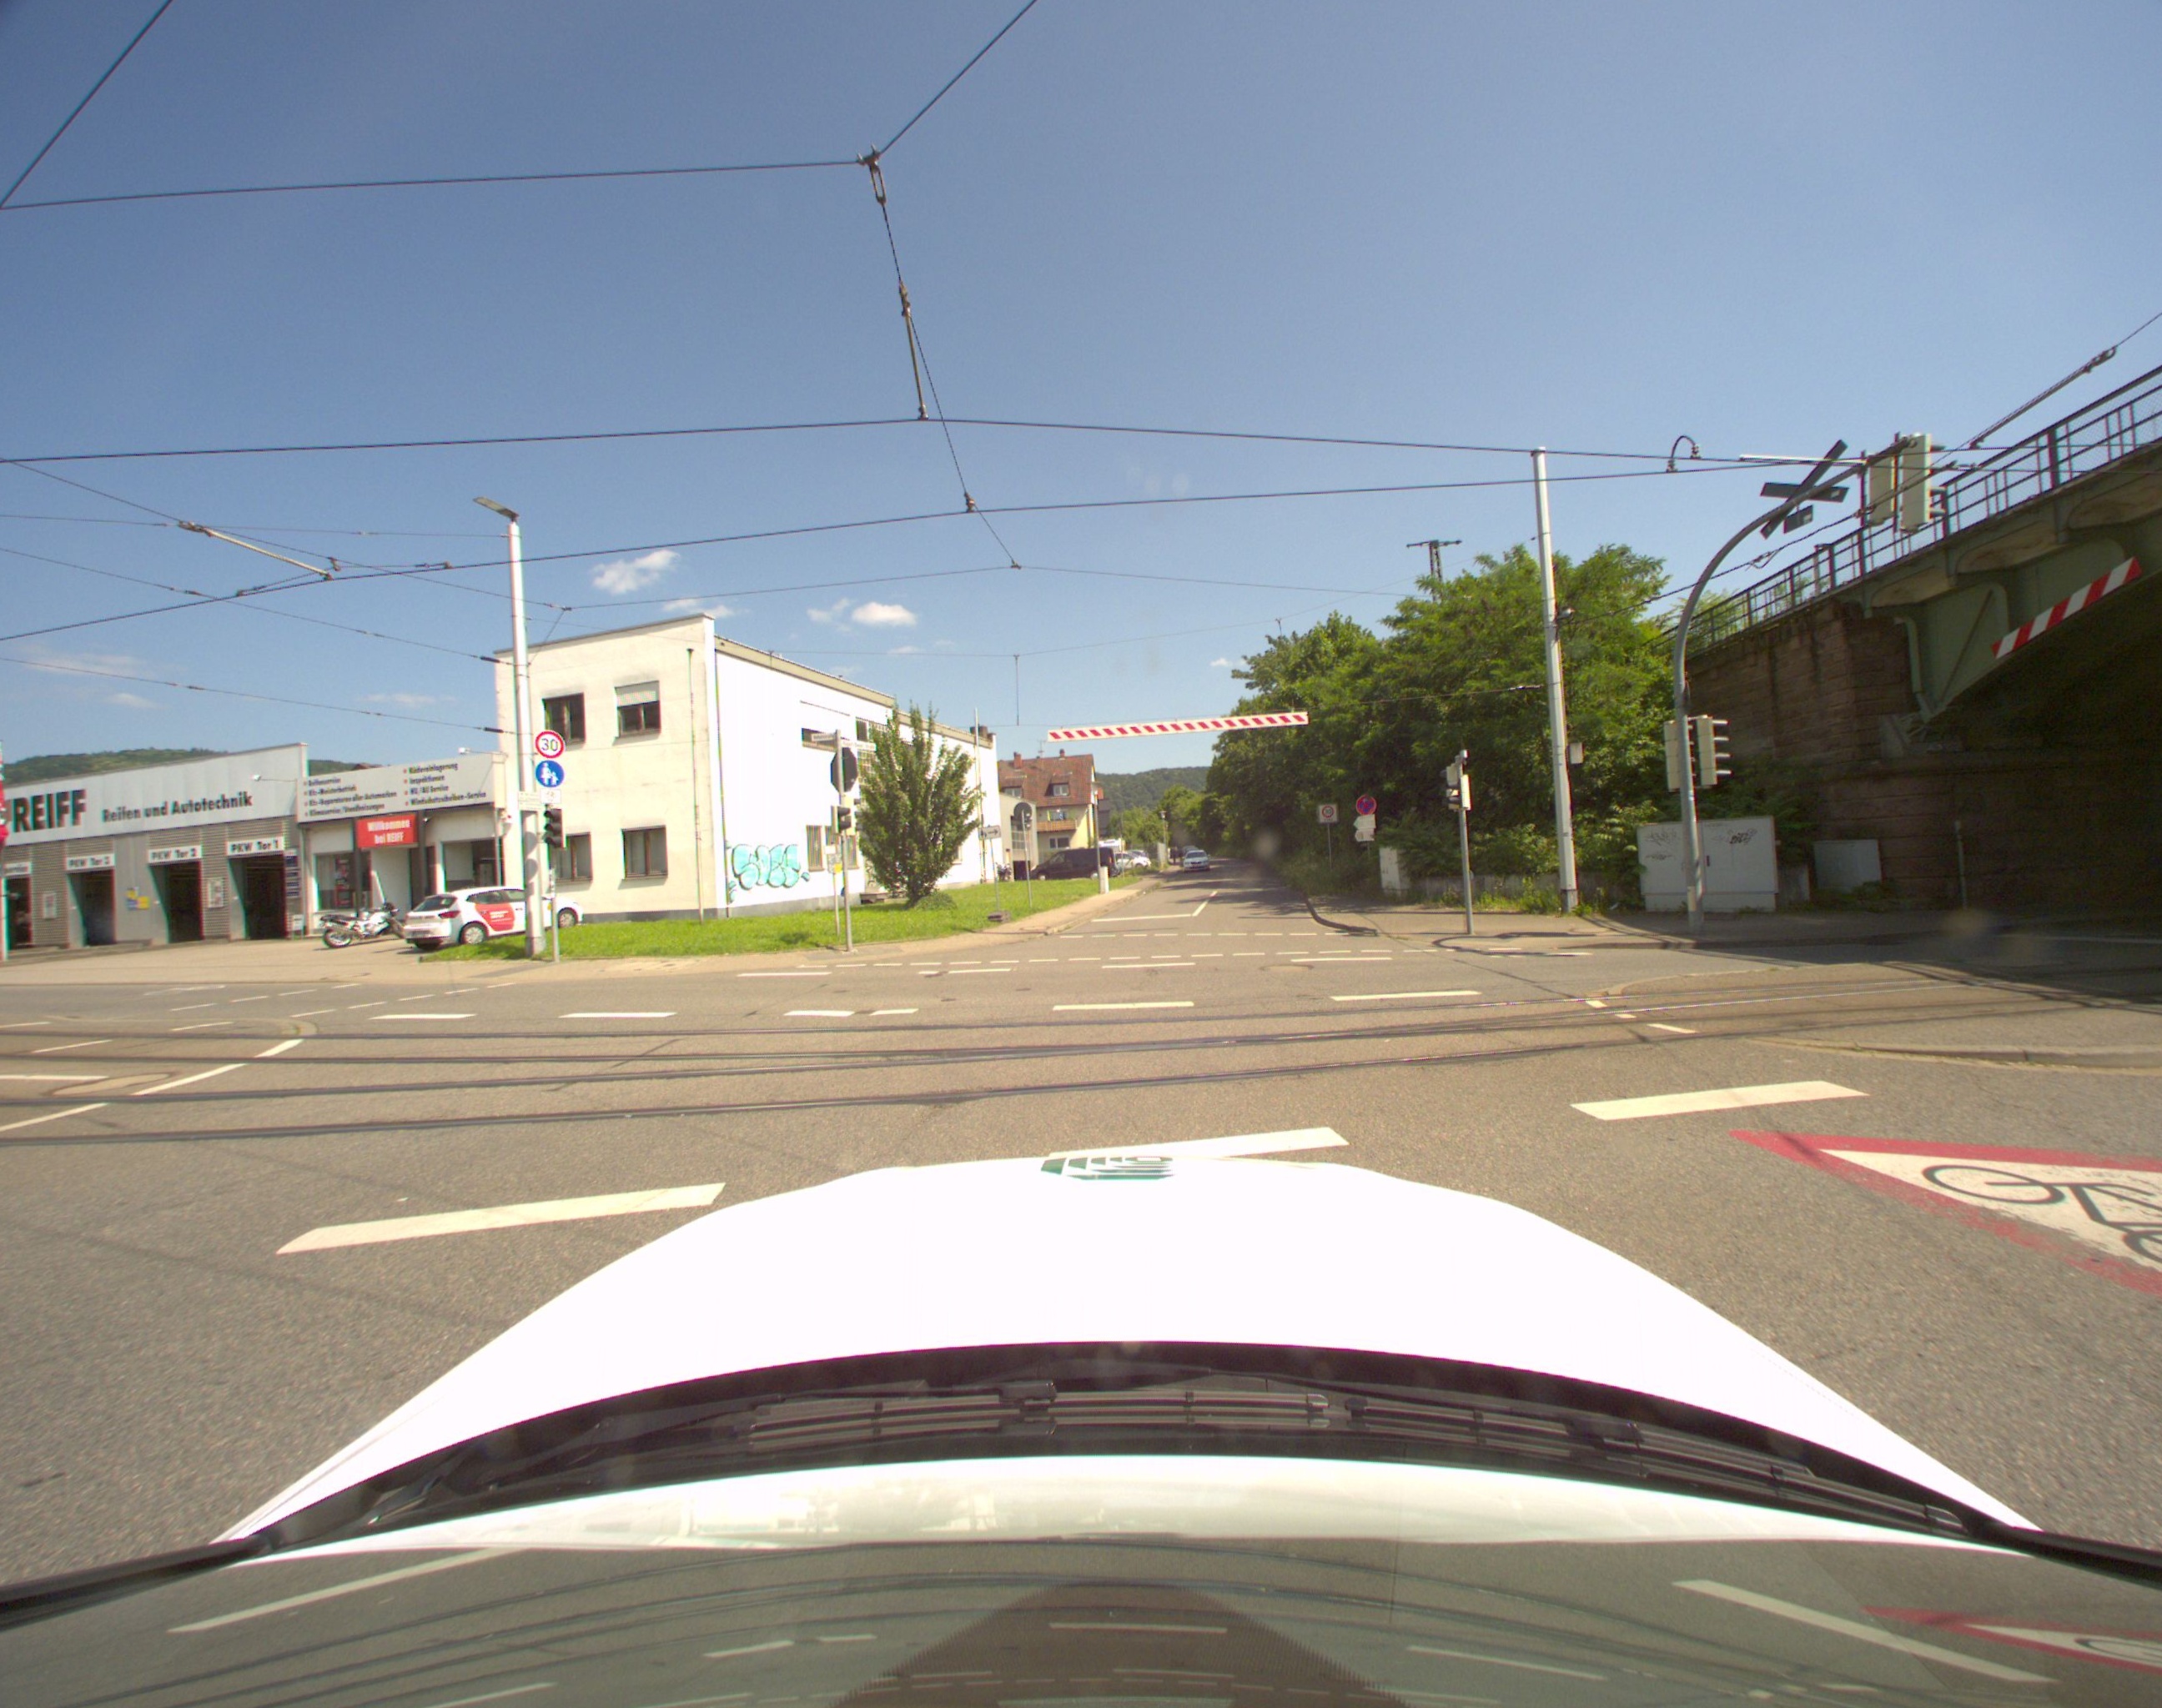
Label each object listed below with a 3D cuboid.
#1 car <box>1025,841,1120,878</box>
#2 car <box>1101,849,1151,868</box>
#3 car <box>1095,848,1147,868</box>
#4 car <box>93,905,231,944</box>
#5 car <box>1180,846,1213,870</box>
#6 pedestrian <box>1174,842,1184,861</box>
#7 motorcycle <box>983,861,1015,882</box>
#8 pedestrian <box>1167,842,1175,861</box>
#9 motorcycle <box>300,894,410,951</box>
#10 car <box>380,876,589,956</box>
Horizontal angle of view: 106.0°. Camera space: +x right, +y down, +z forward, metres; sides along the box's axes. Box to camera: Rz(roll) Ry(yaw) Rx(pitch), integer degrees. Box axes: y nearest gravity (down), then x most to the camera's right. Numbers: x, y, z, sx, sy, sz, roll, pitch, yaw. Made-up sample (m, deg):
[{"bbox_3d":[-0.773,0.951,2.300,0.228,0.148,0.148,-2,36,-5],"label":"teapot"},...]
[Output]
[{"bbox_3d":[-0.485,0.340,48.029,5.217,1.816,2.005,-4,-1,9],"label":"car"},{"bbox_3d":[3.598,0.346,64.430,3.696,1.371,1.609,-2,-1,11],"label":"car"},{"bbox_3d":[3.050,0.293,61.710,3.696,1.372,1.609,-2,-2,11],"label":"car"},{"bbox_3d":[-41.928,3.196,37.270,1.707,1.376,3.787,-3,0,13],"label":"car"},{"bbox_3d":[8.179,0.253,57.381,2.073,1.510,4.553,-2,1,10],"label":"car"},{"bbox_3d":[9.279,-0.217,76.828,0.870,1.763,0.733,-2,-2,9],"label":"pedestrian"},{"bbox_3d":[-4.346,0.925,43.490,0.846,1.032,2.576,-2,-1,13],"label":"motorcycle"},{"bbox_3d":[8.483,-0.199,76.936,0.650,1.763,0.806,-2,-2,9],"label":"pedestrian"},{"bbox_3d":[-20.860,1.945,23.463,0.723,1.308,2.200,-4,2,16],"label":"motorcycle"},{"bbox_3d":[-15.549,1.556,21.523,1.869,1.462,4.019,-3,3,16],"label":"car"}]
